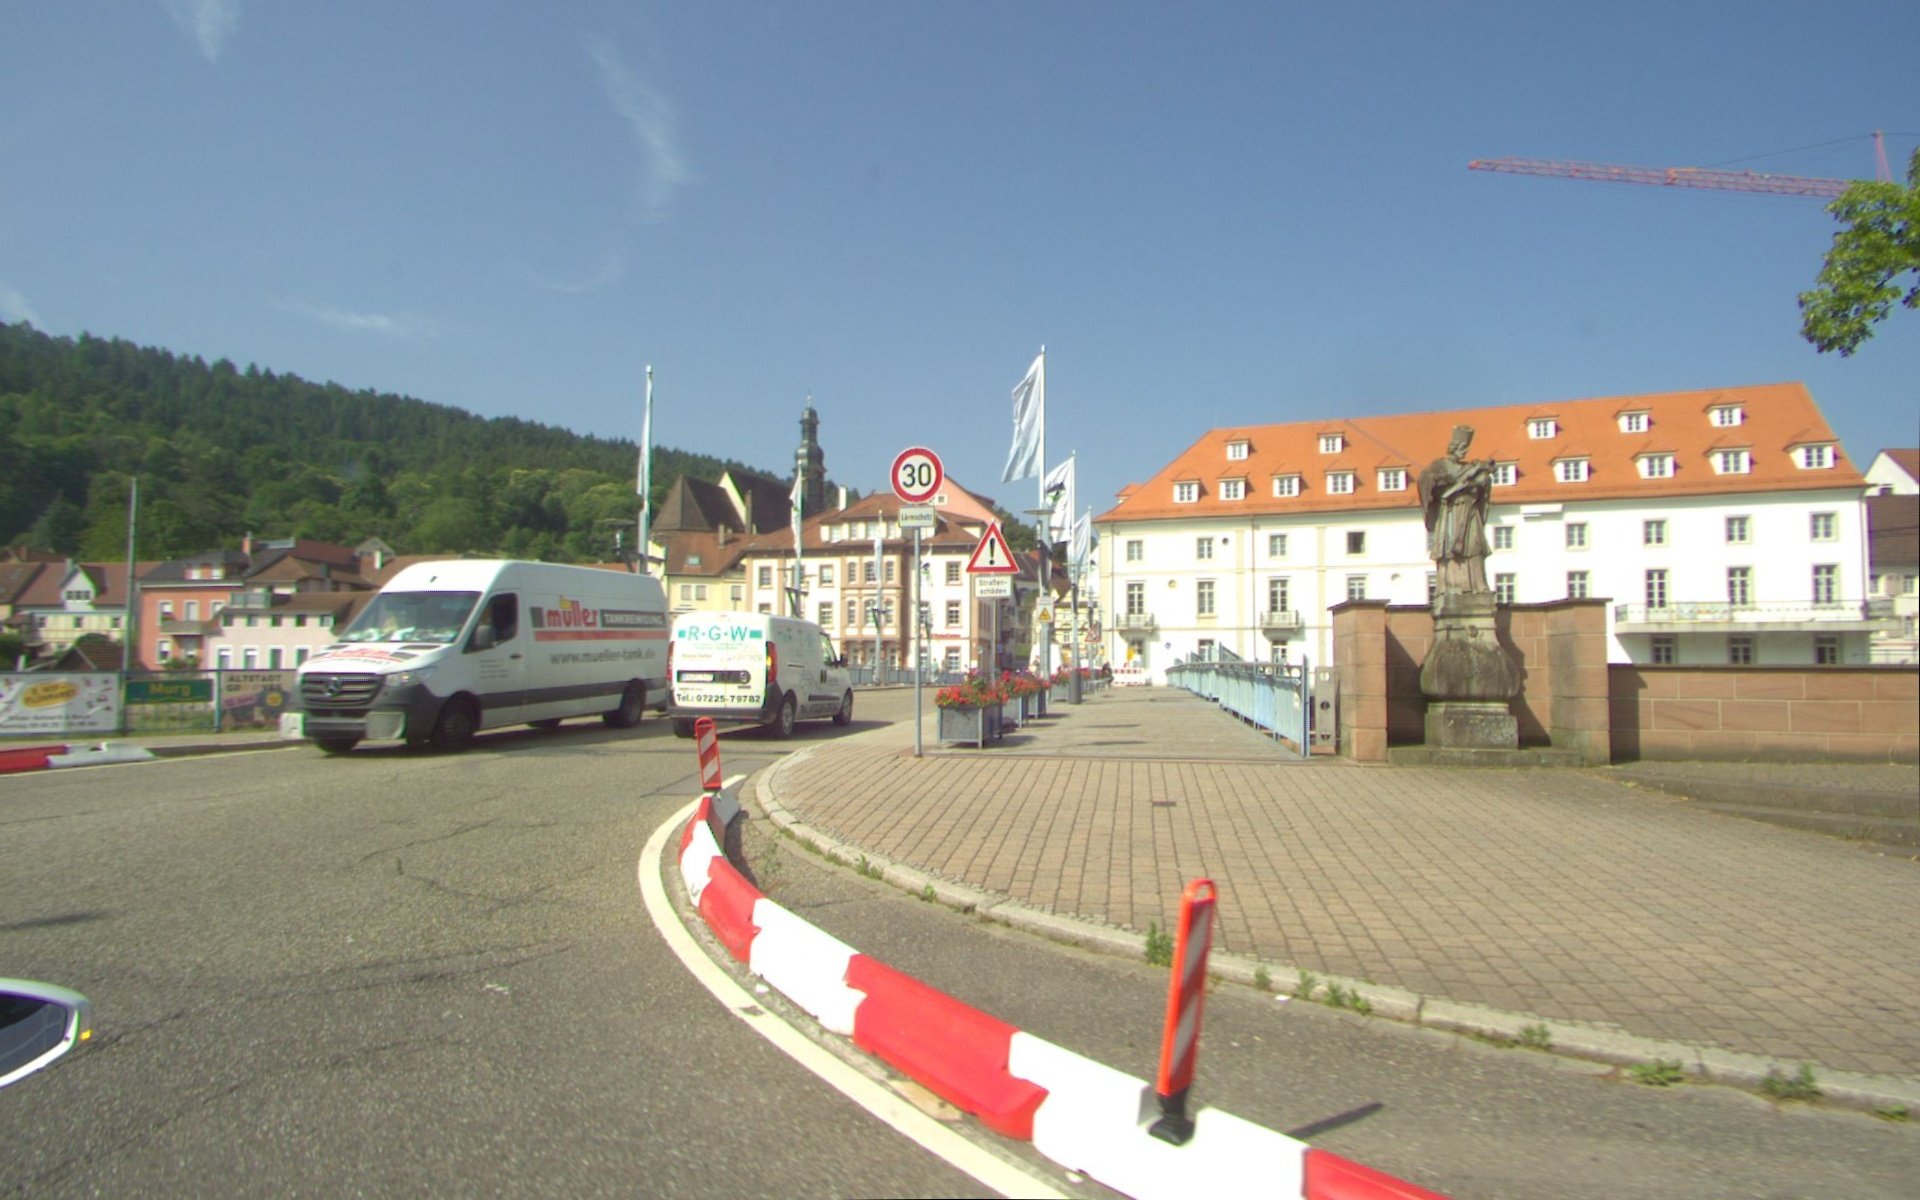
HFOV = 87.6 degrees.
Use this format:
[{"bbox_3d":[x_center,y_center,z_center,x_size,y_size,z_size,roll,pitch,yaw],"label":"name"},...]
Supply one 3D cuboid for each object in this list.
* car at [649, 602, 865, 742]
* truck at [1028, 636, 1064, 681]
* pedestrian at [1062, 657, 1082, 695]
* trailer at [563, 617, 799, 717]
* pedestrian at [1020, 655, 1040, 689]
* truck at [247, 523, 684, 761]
[{"bbox_3d":[-3.070,1.095,16.154,1.815,1.930,4.314,0,-2,12],"label":"car"},{"bbox_3d":[5.299,3.617,61.209,1.832,2.616,4.264,1,-4,10],"label":"truck"},{"bbox_3d":[4.848,3.303,43.499,0.661,1.638,0.559,3,-3,-40],"label":"pedestrian"},{"bbox_3d":[-5.713,1.406,21.571,2.570,1.850,5.638,-1,-3,12],"label":"trailer"},{"bbox_3d":[3.641,3.747,51.941,0.738,1.744,0.723,3,-3,-36],"label":"pedestrian"},{"bbox_3d":[-6.801,0.629,15.236,2.072,2.733,7.133,-1,-2,11],"label":"truck"}]
